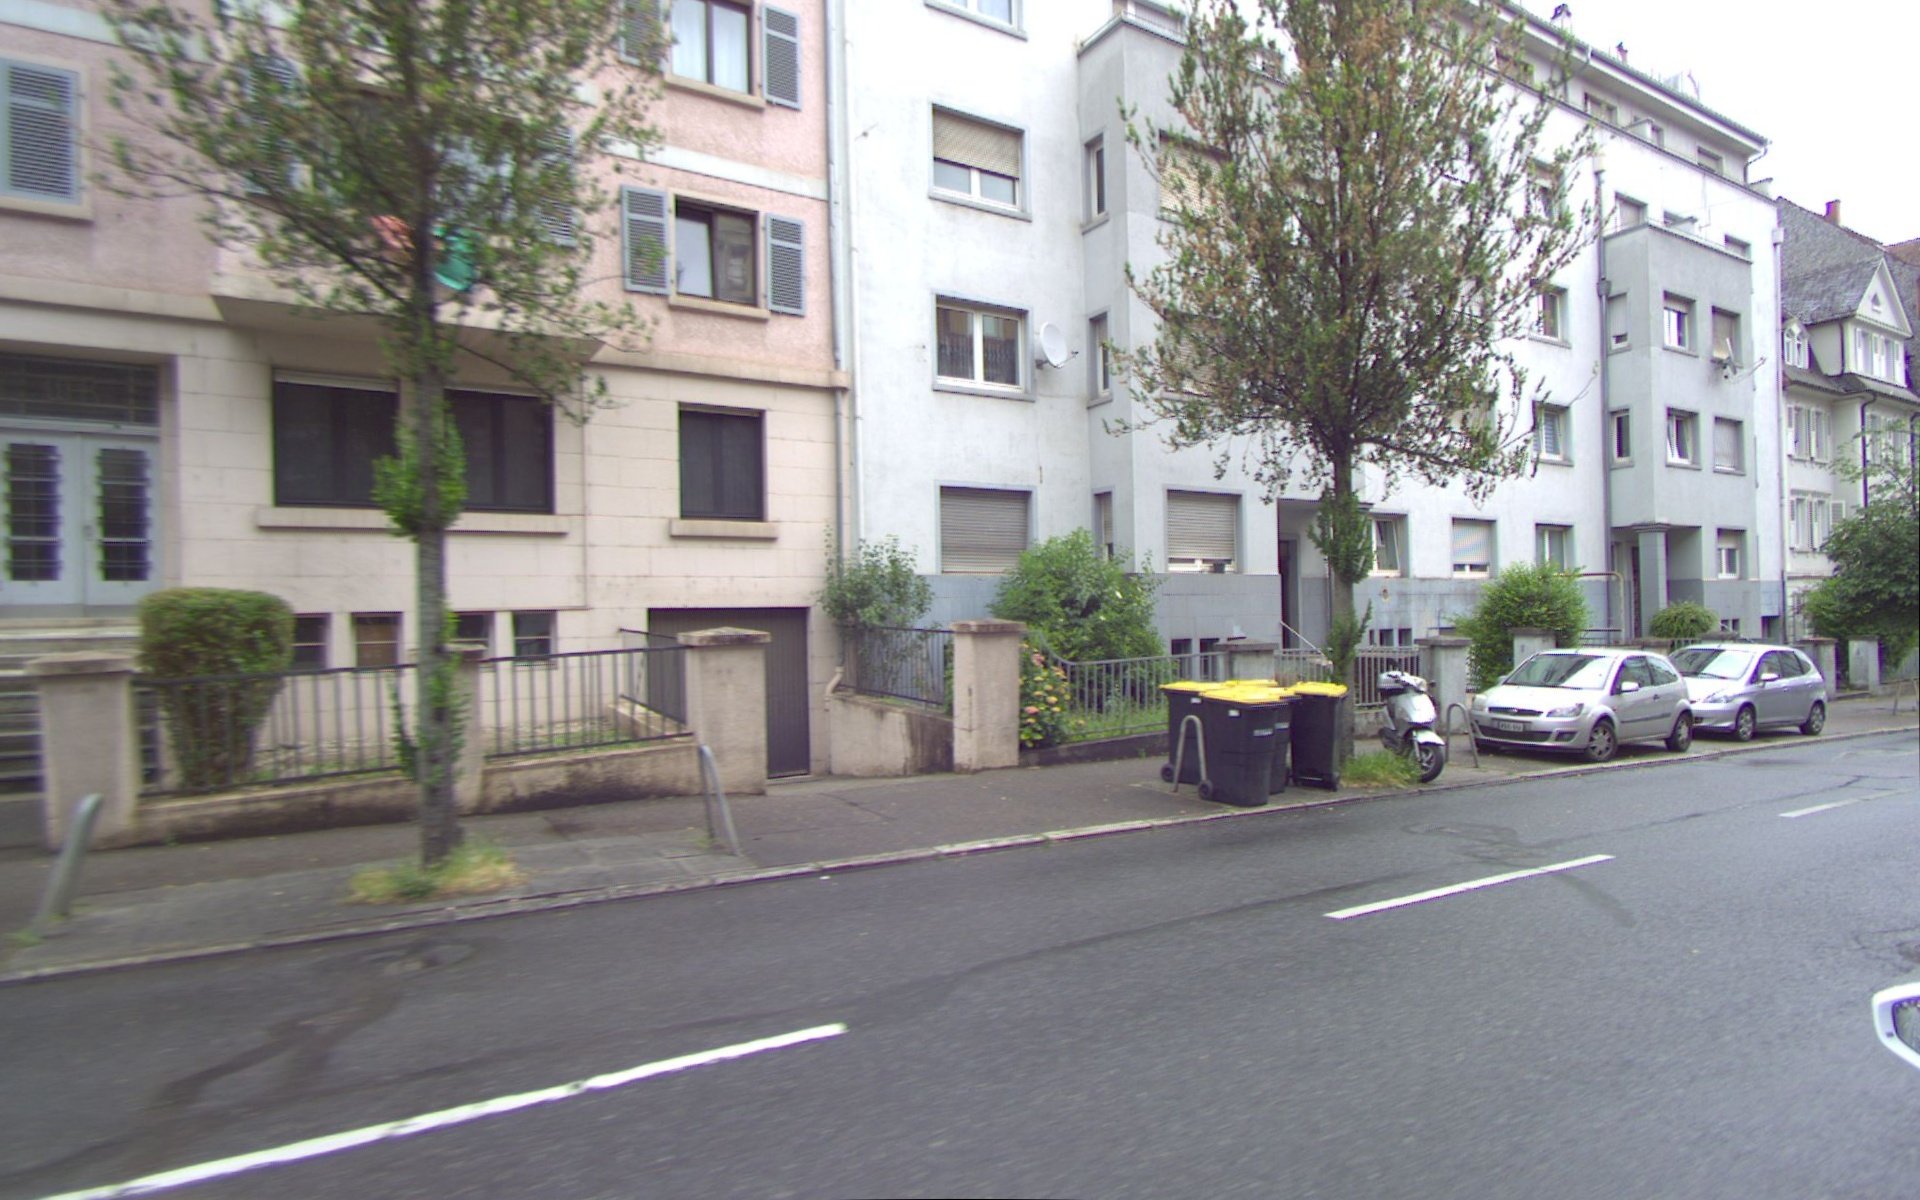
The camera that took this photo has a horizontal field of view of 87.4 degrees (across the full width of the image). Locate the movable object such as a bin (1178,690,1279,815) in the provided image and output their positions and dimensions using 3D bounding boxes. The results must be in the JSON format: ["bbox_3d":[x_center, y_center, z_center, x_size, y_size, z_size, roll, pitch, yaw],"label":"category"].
[{"bbox_3d":[2.606,1.460,9.799,0.478,1.072,0.821,2,0,-30],"label":"movable object such as a bin"}]

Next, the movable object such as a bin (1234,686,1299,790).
[{"bbox_3d":[3.418,1.524,11.211,0.480,1.072,0.467,2,0,-40],"label":"movable object such as a bin"}]

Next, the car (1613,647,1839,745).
[{"bbox_3d":[12.973,1.565,16.979,3.839,1.470,1.594,2,-2,-28],"label":"car"}]

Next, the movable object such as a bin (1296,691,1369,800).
[{"bbox_3d":[3.980,1.535,10.744,0.478,1.072,0.521,2,0,-30],"label":"movable object such as a bin"}]

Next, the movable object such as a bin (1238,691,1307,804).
[{"bbox_3d":[3.225,1.502,10.367,0.480,1.072,0.467,2,0,-40],"label":"movable object such as a bin"}]

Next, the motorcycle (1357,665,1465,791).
[{"bbox_3d":[5.312,1.465,11.950,0.727,1.332,1.813,0,-2,10],"label":"motorcycle"}]

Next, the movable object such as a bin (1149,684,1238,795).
[{"bbox_3d":[2.503,1.475,10.803,0.478,1.072,0.821,2,-1,-30],"label":"movable object such as a bin"}]

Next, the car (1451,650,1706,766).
[{"bbox_3d":[8.854,1.454,14.313,3.845,1.415,1.592,2,-2,-32],"label":"car"}]
